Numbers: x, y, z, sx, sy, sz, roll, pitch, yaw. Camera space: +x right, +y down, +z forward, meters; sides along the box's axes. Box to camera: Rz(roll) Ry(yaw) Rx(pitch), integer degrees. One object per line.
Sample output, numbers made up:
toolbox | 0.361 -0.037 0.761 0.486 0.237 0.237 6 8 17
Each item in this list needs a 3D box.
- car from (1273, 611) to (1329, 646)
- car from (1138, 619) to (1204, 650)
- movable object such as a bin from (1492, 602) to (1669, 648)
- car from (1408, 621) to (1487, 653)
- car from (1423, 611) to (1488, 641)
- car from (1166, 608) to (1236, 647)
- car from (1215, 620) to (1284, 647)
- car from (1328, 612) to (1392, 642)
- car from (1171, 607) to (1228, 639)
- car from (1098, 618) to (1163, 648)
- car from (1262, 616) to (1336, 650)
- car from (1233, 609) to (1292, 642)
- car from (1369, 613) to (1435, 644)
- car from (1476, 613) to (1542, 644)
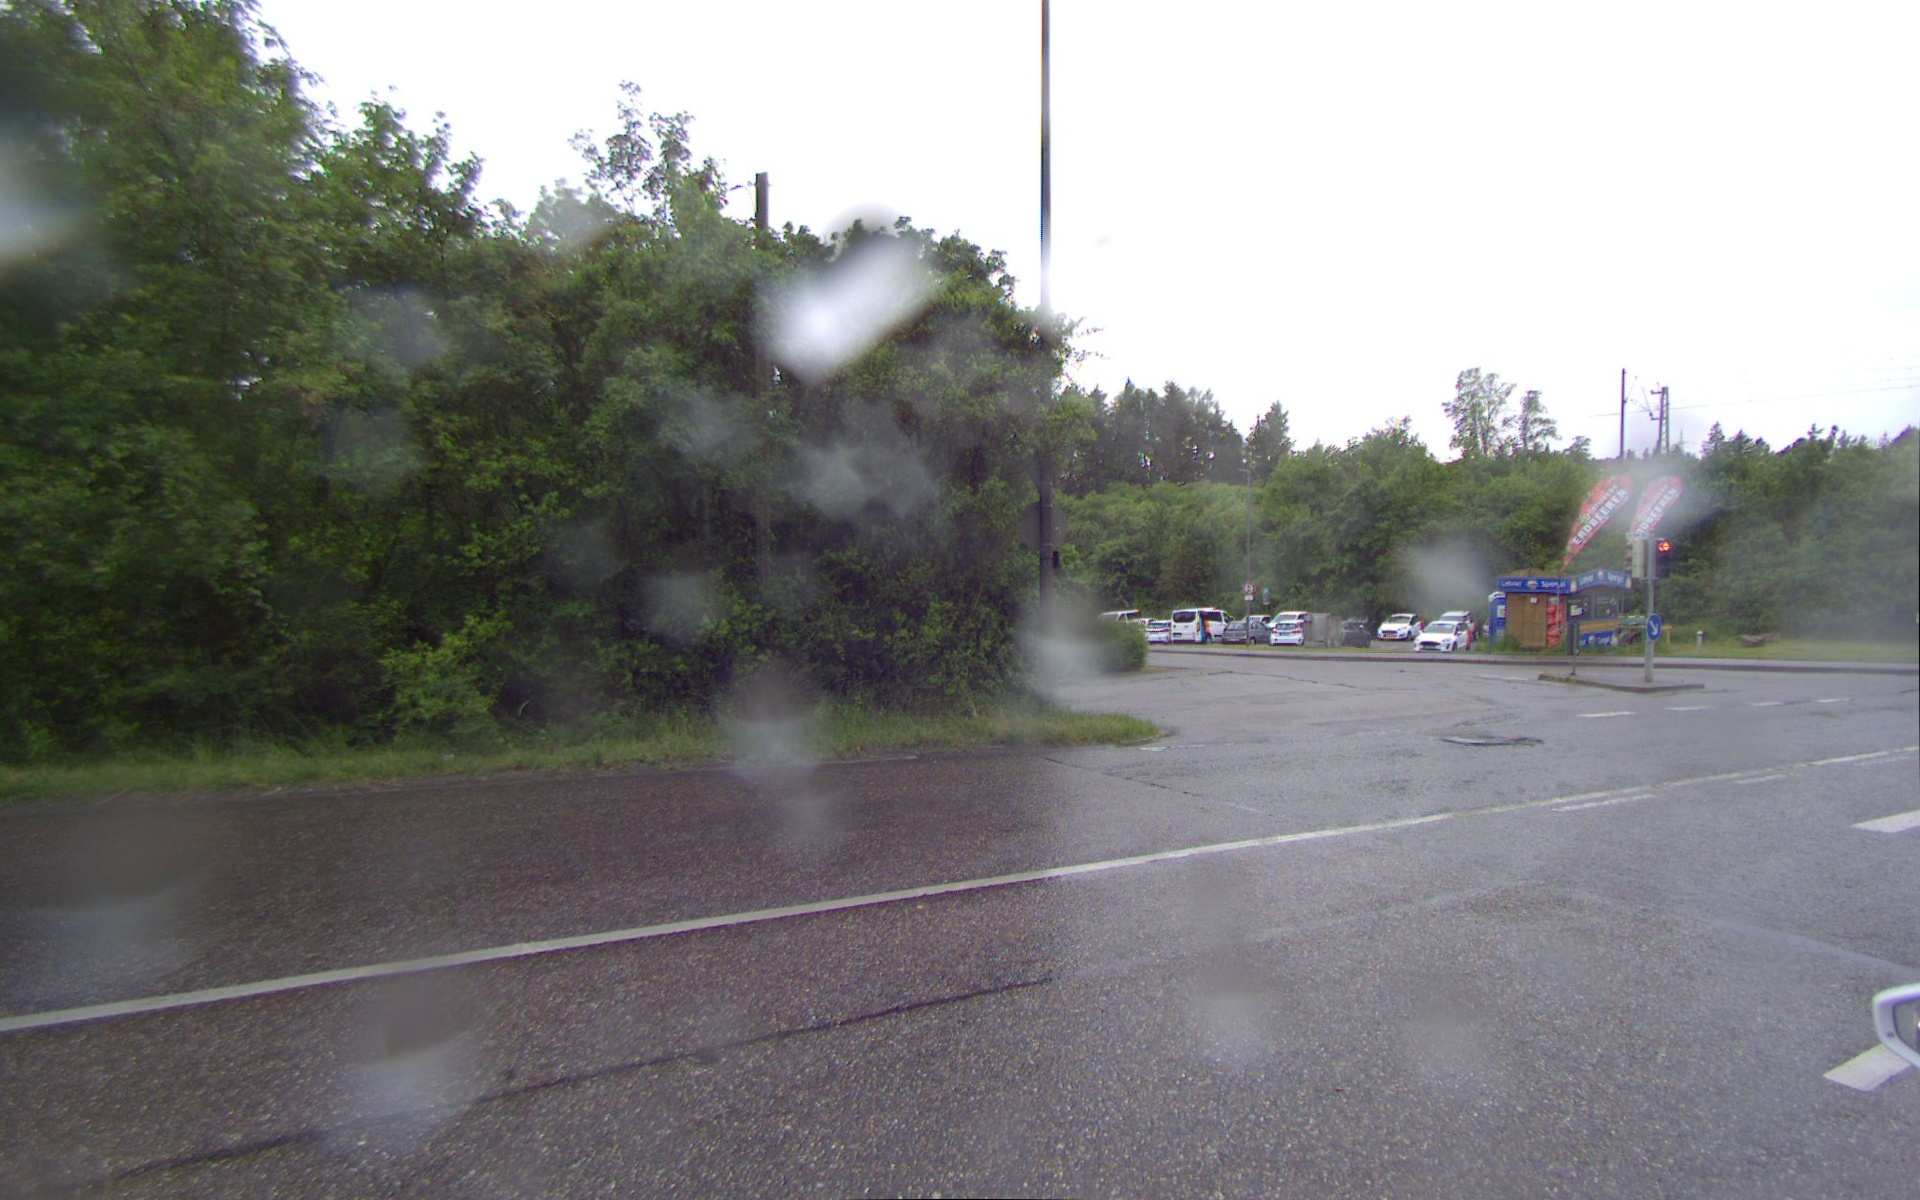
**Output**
car | 21.342 1.761 62.763 1.916 2.040 3.846 1 0 43
car | 11.812 1.932 56.191 1.834 1.606 3.978 1 -1 42
movable object such as a bin | 25.845 1.028 42.123 5.663 1.649 2.753 2 -1 10
car | 22.612 1.741 46.524 4.868 1.358 1.636 3 -1 -43
car | 27.272 1.439 55.224 3.972 1.606 1.975 2 -2 -43
car | 13.035 1.494 54.253 1.971 1.974 3.978 1 -1 42
car | 15.295 1.770 53.003 3.972 1.327 1.734 3 -1 -43
car | 23.618 1.610 59.216 3.972 1.606 1.975 3 -1 -43
car | 16.200 1.561 67.901 3.973 2.040 1.974 2 -1 -44
car | 9.898 1.908 58.089 1.813 1.606 3.978 1 -1 42
car | 17.266 1.676 51.094 3.880 1.606 1.918 3 -1 -43
car | 19.473 1.630 64.646 3.973 2.040 1.974 2 -2 -44
car | 25.159 1.636 57.120 3.972 1.606 1.975 3 -1 -43
car | 29.565 1.506 54.039 3.972 1.606 1.975 2 -2 -43
